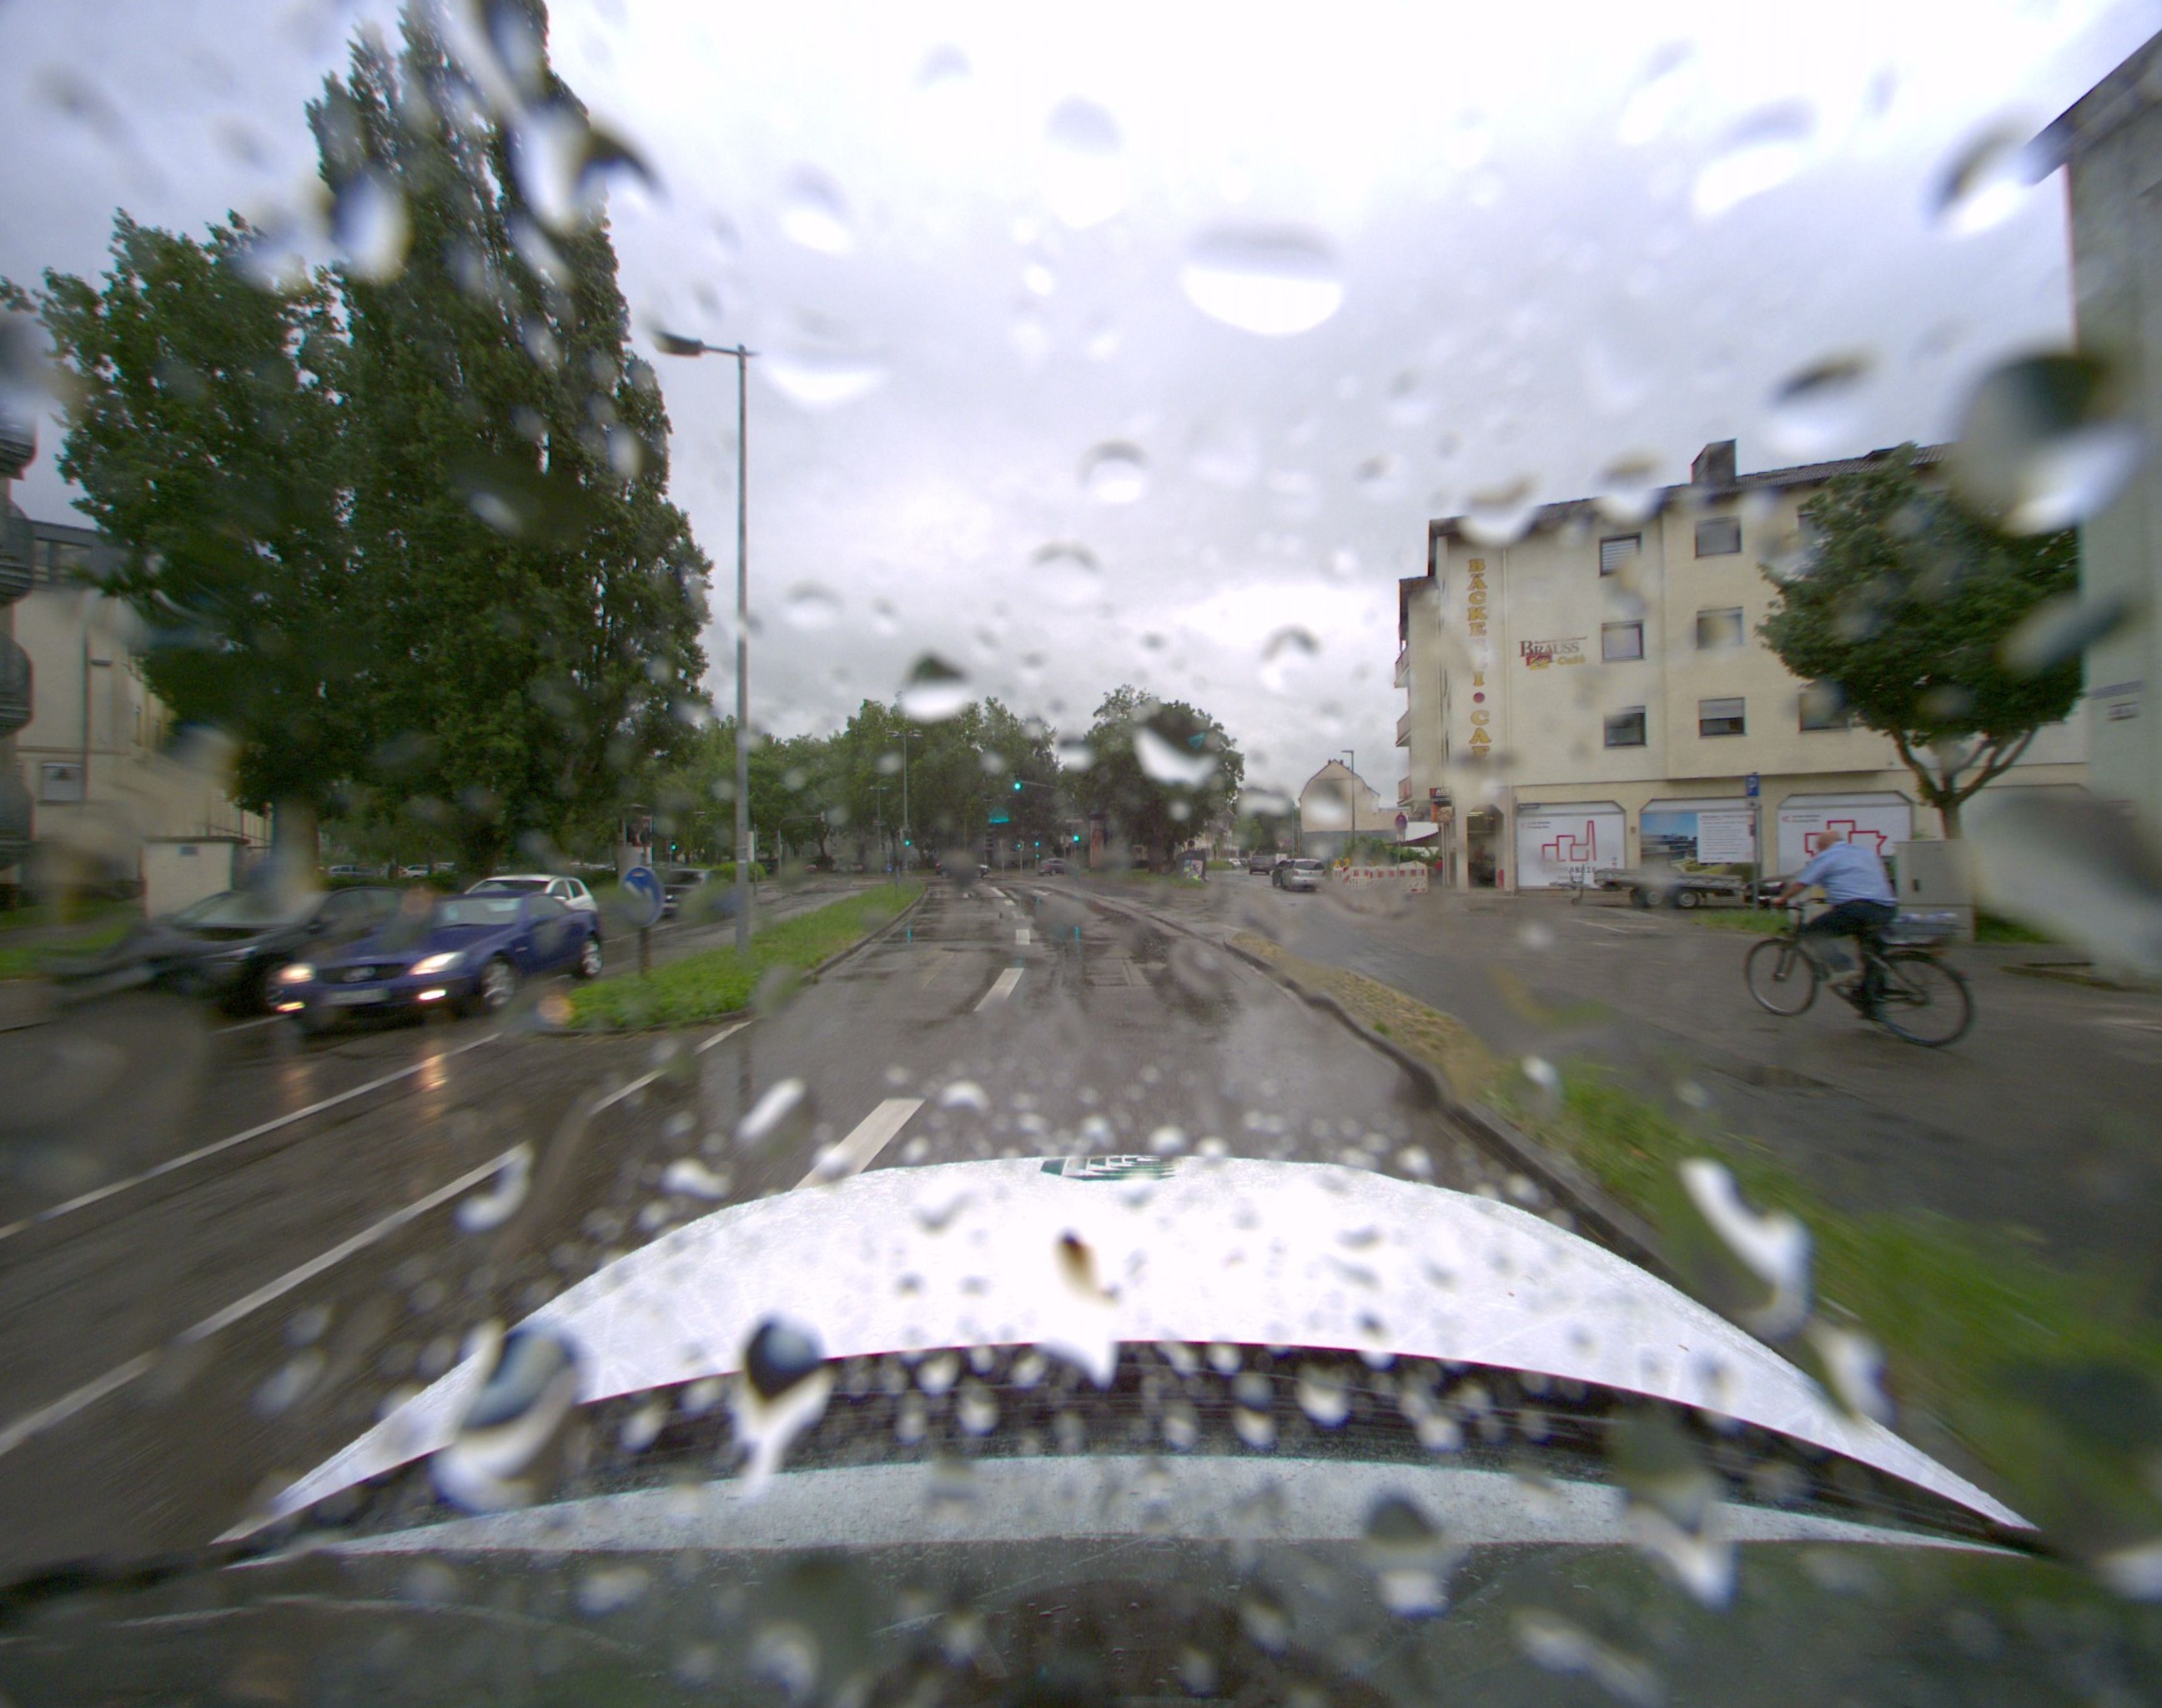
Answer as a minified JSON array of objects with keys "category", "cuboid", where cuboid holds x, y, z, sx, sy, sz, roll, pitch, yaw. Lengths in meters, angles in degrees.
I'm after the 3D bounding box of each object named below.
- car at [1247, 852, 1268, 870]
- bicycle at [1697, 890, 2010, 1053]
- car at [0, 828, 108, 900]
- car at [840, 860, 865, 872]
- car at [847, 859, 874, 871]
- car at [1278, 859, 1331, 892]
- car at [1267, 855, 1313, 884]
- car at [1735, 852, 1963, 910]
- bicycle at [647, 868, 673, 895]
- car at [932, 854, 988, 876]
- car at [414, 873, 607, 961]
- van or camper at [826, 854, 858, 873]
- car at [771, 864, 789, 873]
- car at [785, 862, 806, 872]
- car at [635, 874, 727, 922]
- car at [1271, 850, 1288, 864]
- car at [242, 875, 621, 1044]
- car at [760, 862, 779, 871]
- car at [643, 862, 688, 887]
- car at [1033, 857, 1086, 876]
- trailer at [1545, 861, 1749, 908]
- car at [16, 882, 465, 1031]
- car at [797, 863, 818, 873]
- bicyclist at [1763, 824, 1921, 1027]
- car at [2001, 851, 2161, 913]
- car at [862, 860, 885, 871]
[{"category":"car","cuboid":[16.308,0.639,75.249,1.842,1.654,4.318,0,-1,11]},{"category":"bicycle","cuboid":[6.287,0.884,6.821,0.671,1.060,1.969,0,0,-4]},{"category":"car","cuboid":[-49.257,0.462,36.852,6.248,3.194,2.805,0,-1,-41]},{"category":"car","cuboid":[-28.534,1.520,101.752,1.720,1.411,3.603,-3,1,-38]},{"category":"car","cuboid":[-30.143,1.514,111.380,1.931,1.620,4.401,0,-3,-39]},{"category":"car","cuboid":[10.186,0.952,37.403,1.626,1.433,4.182,0,-1,5]},{"category":"car","cuboid":[10.972,0.818,43.019,1.690,1.433,4.162,0,-1,5]},{"category":"car","cuboid":[19.889,0.693,21.321,3.952,1.403,1.747,-1,-1,22]},{"category":"bicycle","cuboid":[-19.155,1.231,37.059,0.698,1.186,1.616,0,-1,-14]},{"category":"car","cuboid":[-9.862,0.876,66.770,4.276,1.744,2.000,0,-1,0]},{"category":"car","cuboid":[-11.046,1.132,16.143,1.603,1.474,4.106,0,-1,-12]},{"category":"van or camper","cuboid":[-34.917,1.407,118.926,2.337,2.807,6.787,0,-1,-36]},{"category":"car","cuboid":[-48.071,2.336,130.104,1.720,1.411,3.603,-3,1,-38]},{"category":"car","cuboid":[-47.100,2.141,134.328,1.931,1.620,4.319,0,-1,-39]},{"category":"car","cuboid":[-12.900,1.366,26.529,1.544,1.397,4.179,1,-1,-10]},{"category":"car","cuboid":[33.321,0.545,136.456,2.331,2.208,4.634,-1,-1,18]},{"category":"car","cuboid":[-7.128,1.018,9.548,1.727,1.393,3.936,-3,0,-10]},{"category":"car","cuboid":[-55.533,2.212,145.157,1.931,1.620,4.319,0,-1,-39]},{"category":"car","cuboid":[-30.015,1.466,58.804,1.793,1.686,3.975,-1,0,-45]},{"category":"car","cuboid":[-1.806,1.028,68.855,4.097,1.602,1.982,0,-1,-27]},{"category":"trailer","cuboid":[15.787,0.823,23.040,4.478,1.232,1.835,-1,-1,24]},{"category":"car","cuboid":[-9.892,1.088,10.181,1.727,1.383,4.165,1,-1,-10]},{"category":"car","cuboid":[-39.647,2.053,118.122,1.720,1.411,3.603,-3,1,-38]},{"category":"bicyclist","cuboid":[6.263,0.559,6.740,0.637,1.582,0.714,0,0,-5]},{"category":"car","cuboid":[24.956,0.636,19.102,4.130,1.403,1.747,-1,-1,21]},{"category":"car","cuboid":[-27.508,1.554,107.749,1.560,1.390,4.104,0,-1,-36]}]
